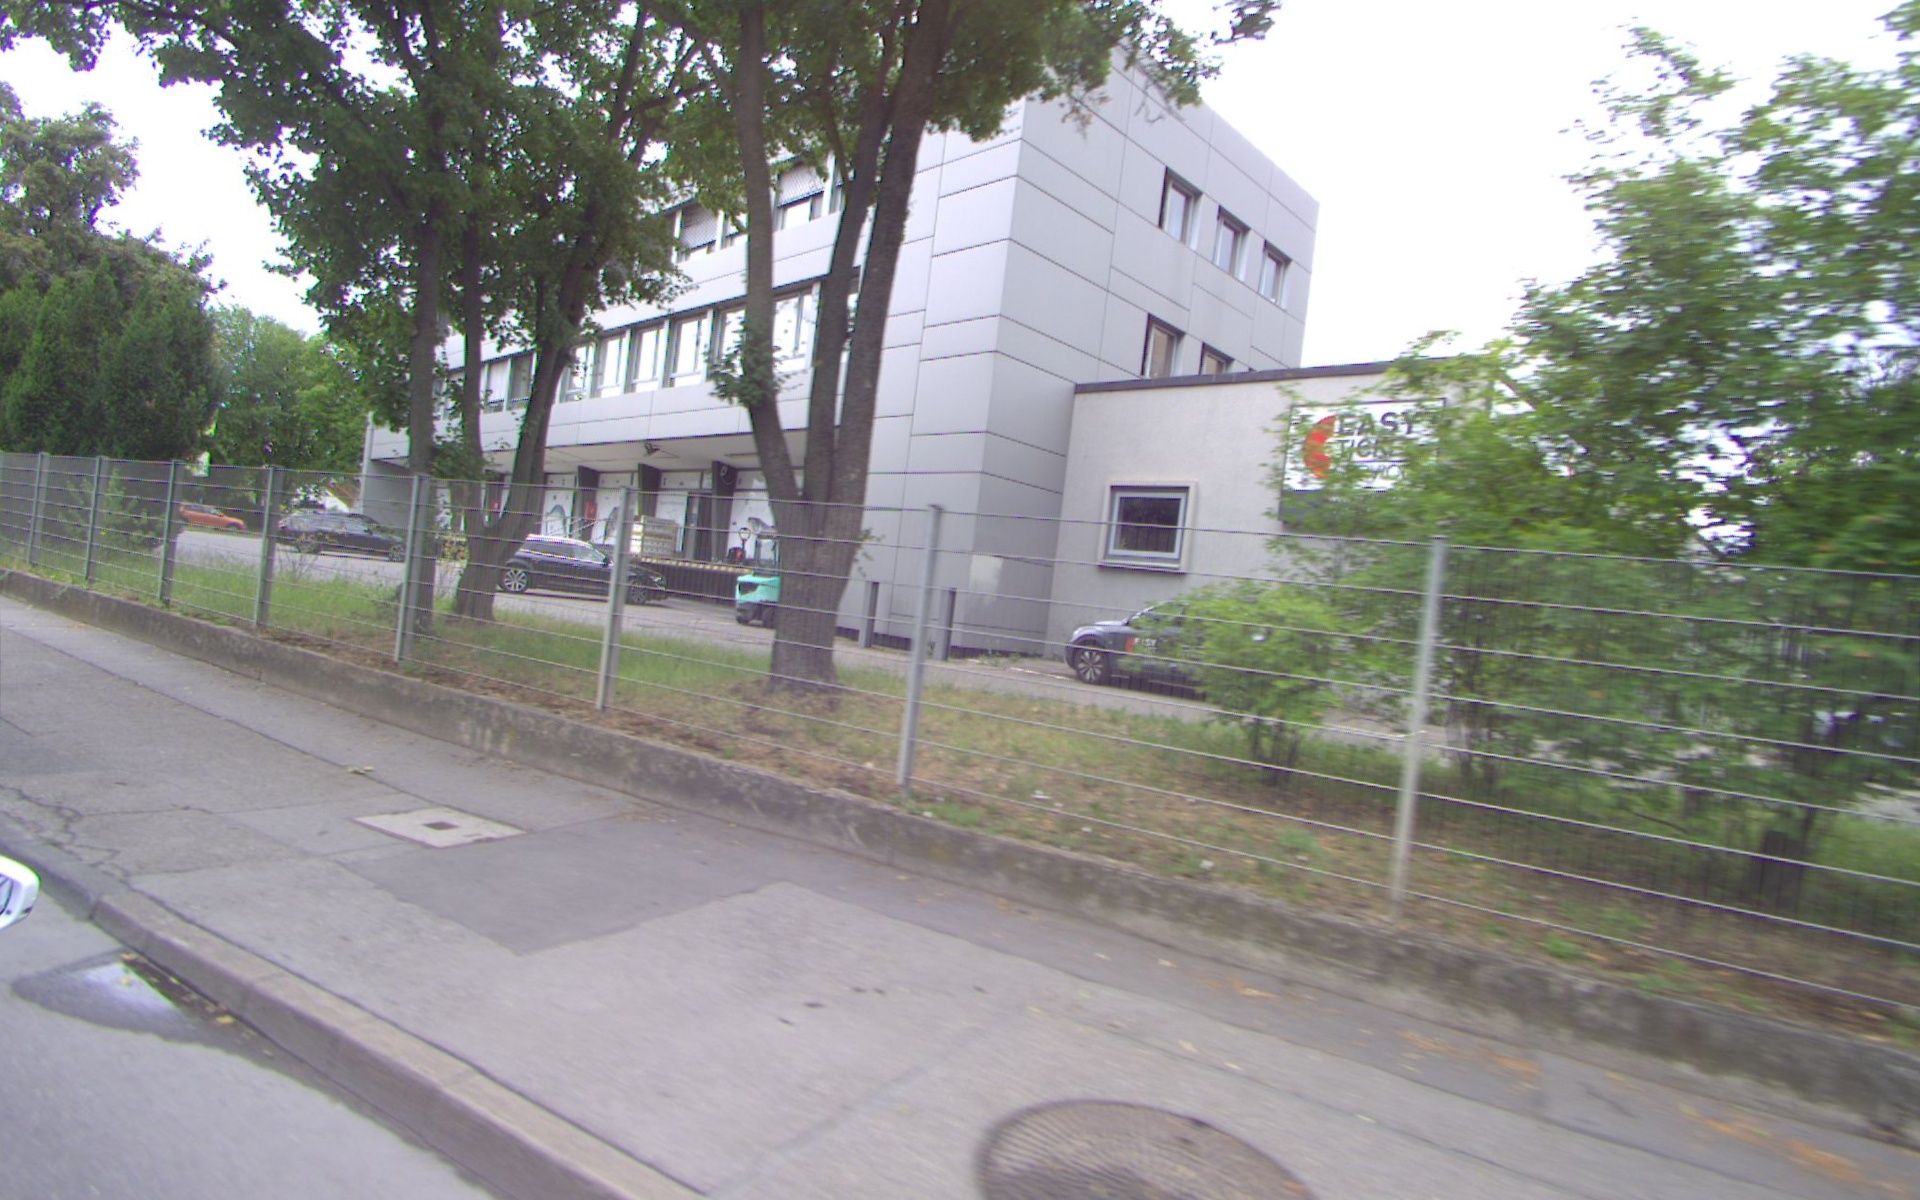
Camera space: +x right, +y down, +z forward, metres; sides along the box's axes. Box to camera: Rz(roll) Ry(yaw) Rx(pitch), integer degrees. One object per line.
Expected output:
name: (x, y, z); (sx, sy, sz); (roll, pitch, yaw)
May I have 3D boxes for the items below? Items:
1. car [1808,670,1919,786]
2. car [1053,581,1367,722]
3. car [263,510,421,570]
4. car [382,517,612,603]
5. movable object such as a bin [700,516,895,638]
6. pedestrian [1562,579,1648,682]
car: (16.321, 2.254, 15.749); (4.383, 1.632, 1.988); (8, 1, 45)
car: (3.899, 0.732, 16.185); (4.380, 1.588, 1.988); (8, 3, 42)
car: (-23.551, -2.252, 38.577); (4.799, 1.553, 2.011); (7, 0, -25)
car: (-11.048, -0.919, 24.346); (4.616, 1.492, 1.995); (6, 0, -12)
movable object such as a bin: (-3.697, -0.473, 23.374); (1.925, 2.334, 3.980); (7, 1, 41)
pedestrian: (11.899, 0.550, 18.578); (0.908, 1.774, 0.793); (6, 1, -21)
